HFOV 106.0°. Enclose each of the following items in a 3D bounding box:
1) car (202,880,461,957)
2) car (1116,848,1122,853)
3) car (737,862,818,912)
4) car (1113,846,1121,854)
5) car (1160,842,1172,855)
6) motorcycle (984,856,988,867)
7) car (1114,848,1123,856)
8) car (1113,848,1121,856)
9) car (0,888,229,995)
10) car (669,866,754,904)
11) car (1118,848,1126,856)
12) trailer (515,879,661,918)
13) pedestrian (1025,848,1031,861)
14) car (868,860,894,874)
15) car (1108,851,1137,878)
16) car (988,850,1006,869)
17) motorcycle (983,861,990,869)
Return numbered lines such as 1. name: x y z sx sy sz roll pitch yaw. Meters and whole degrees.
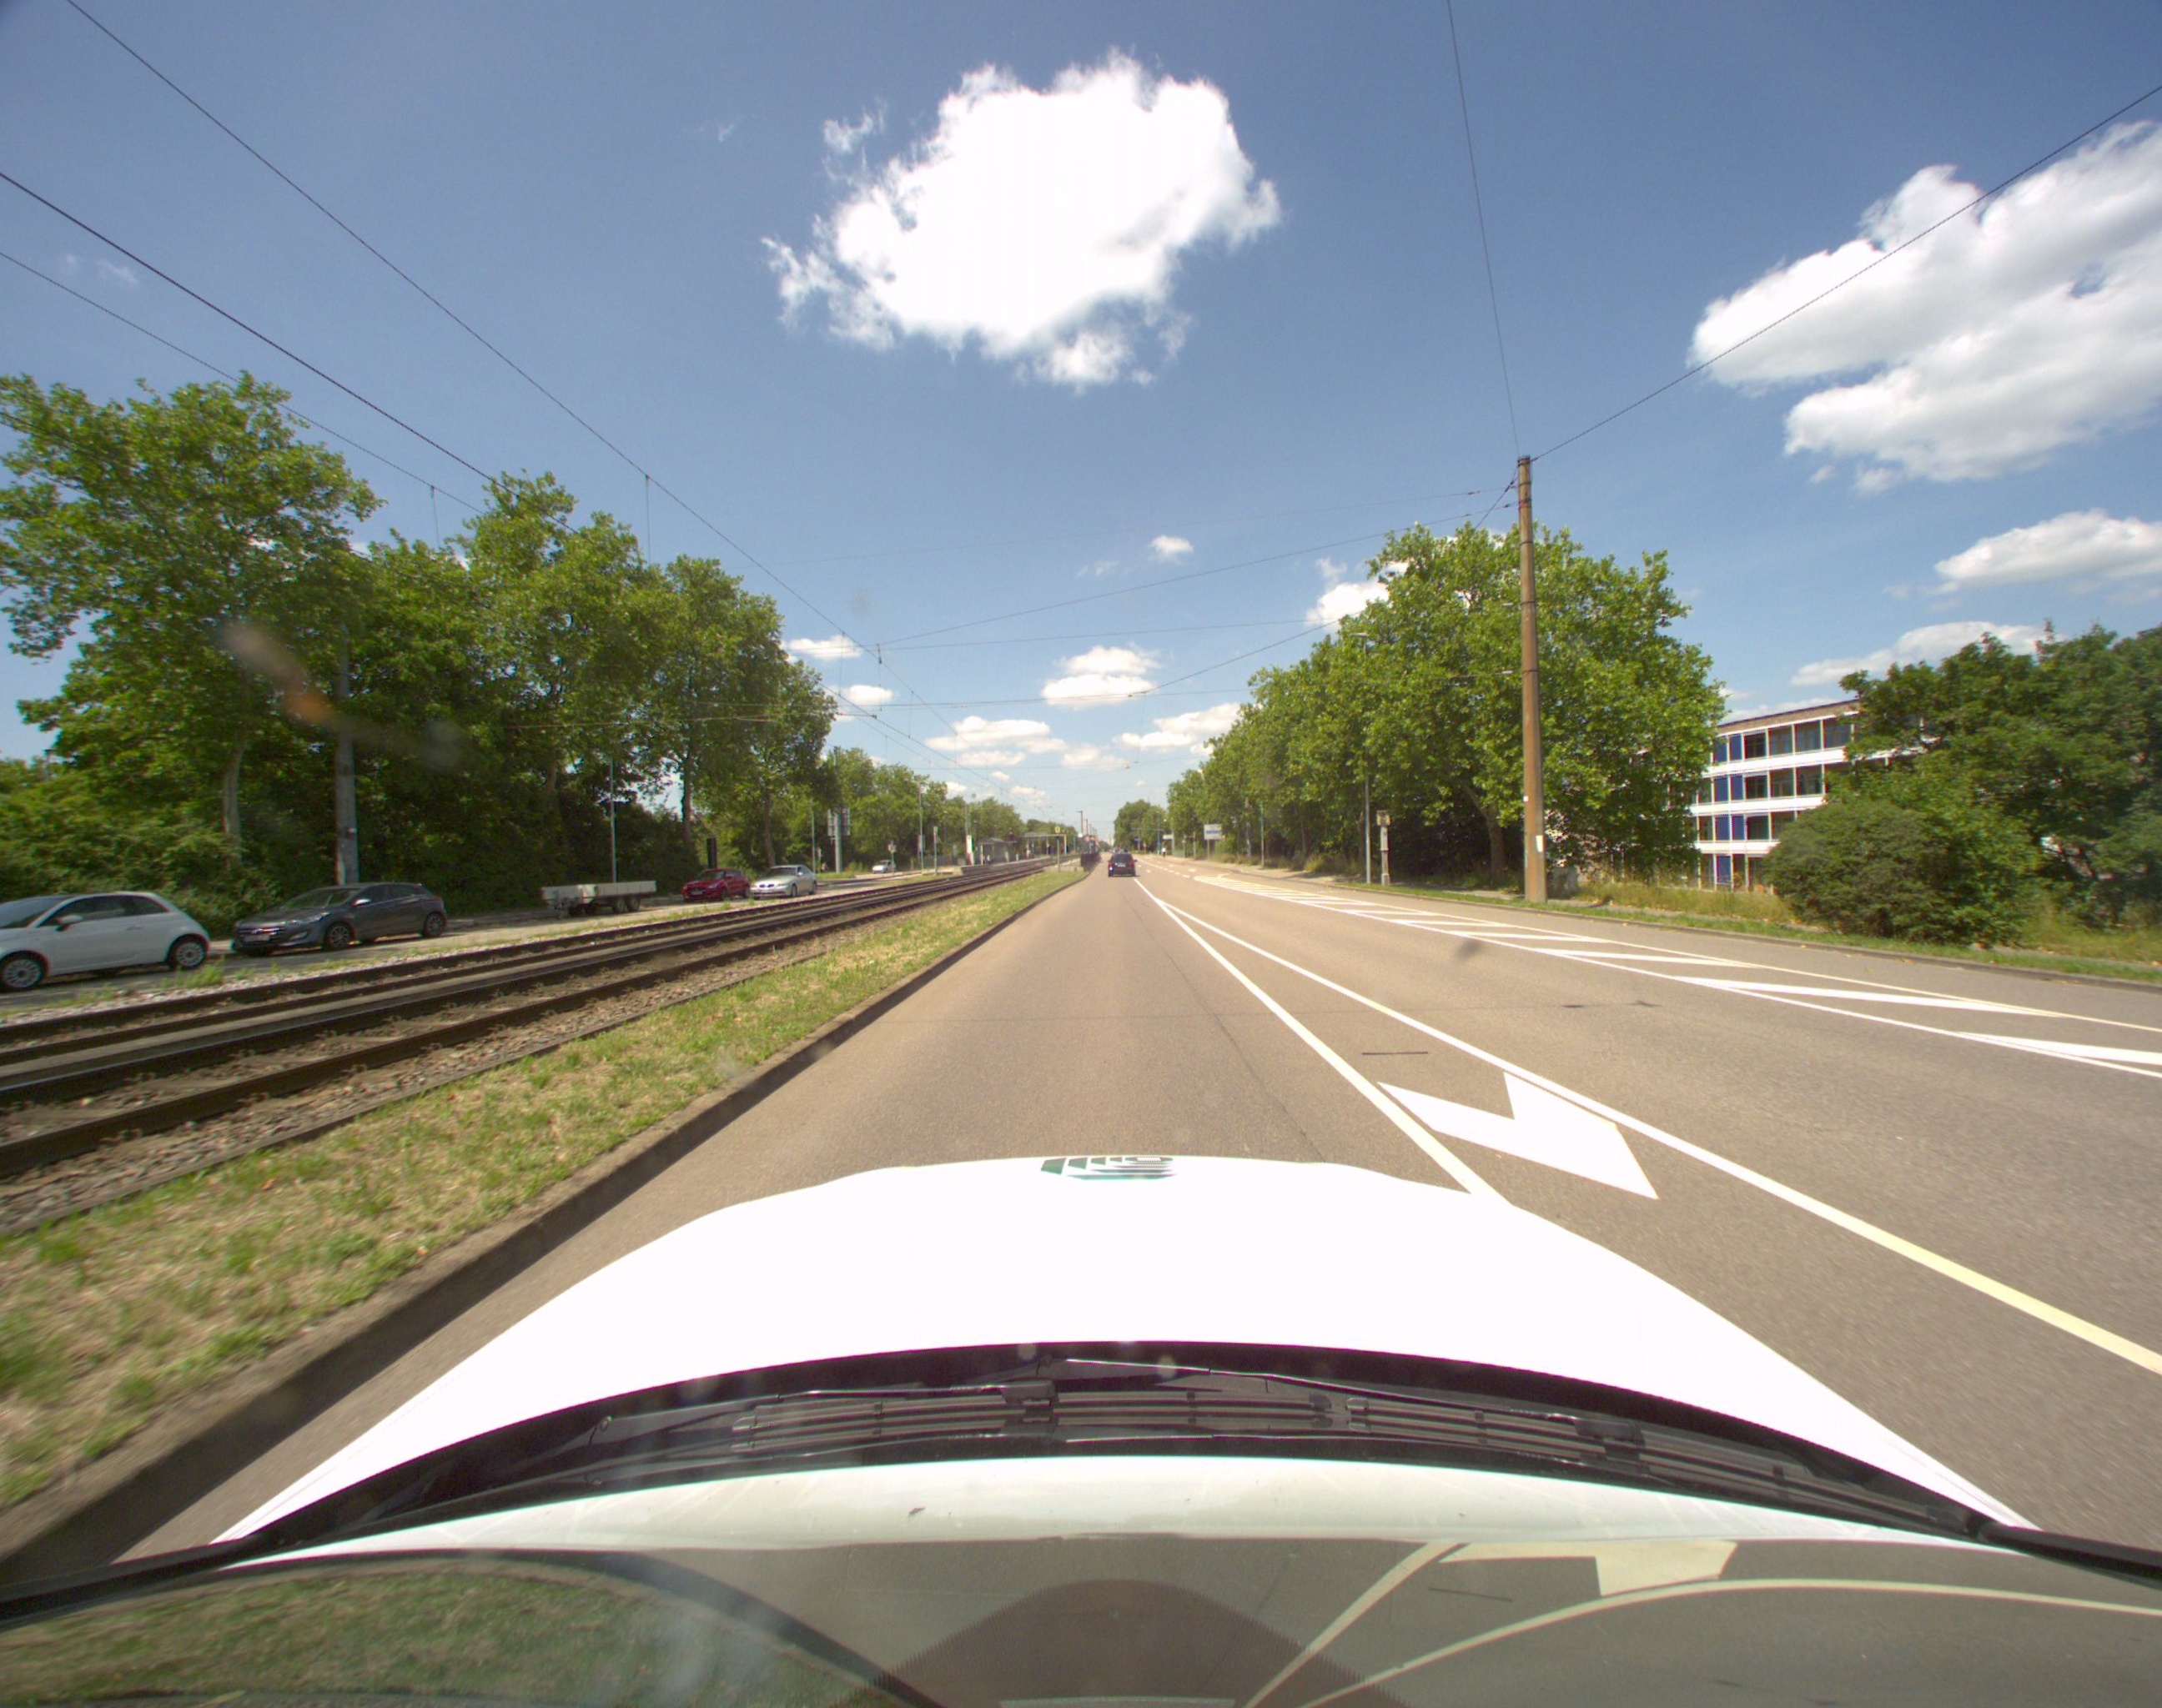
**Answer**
1. car: -16.974 1.382 18.823 1.864 1.401 4.417 -1 0 0
2. car: 11.067 -0.996 238.895 1.671 1.518 4.002 0 1 1
3. car: -13.415 1.401 36.307 1.986 2.013 4.001 -1 0 1
4. car: 9.944 -1.156 223.560 1.986 2.013 4.001 -1 0 1
5. car: 14.331 -0.925 137.347 1.606 2.013 3.441 0 1 1
6. motorcycle: -10.614 0.851 91.252 0.280 1.173 0.394 -1 0 33
7. car: 9.507 -0.565 206.059 1.986 2.013 4.002 0 1 1
8. car: 9.543 -0.637 213.842 1.986 2.013 4.002 0 1 1
9. car: -16.915 1.393 13.580 1.429 1.451 3.740 -1 0 0
10. car: -16.941 1.376 37.596 1.986 1.574 4.001 -1 0 1
11. car: 9.852 -0.534 195.465 1.877 1.639 4.003 2 1 3
12. trailer: -16.933 1.493 28.345 1.886 1.044 5.104 0 0 1
13. pedestrian: -8.396 0.041 128.817 0.949 2.013 0.892 0 1 1
14. car: -24.072 1.577 98.106 1.986 1.574 4.002 -1 0 2
15. car: 2.757 0.646 54.249 1.845 1.570 4.392 -1 2 3
16. car: -9.512 0.573 92.568 1.580 2.013 4.110 0 1 0
17. motorcycle: -10.619 1.196 91.218 0.228 0.898 0.890 -1 0 33
